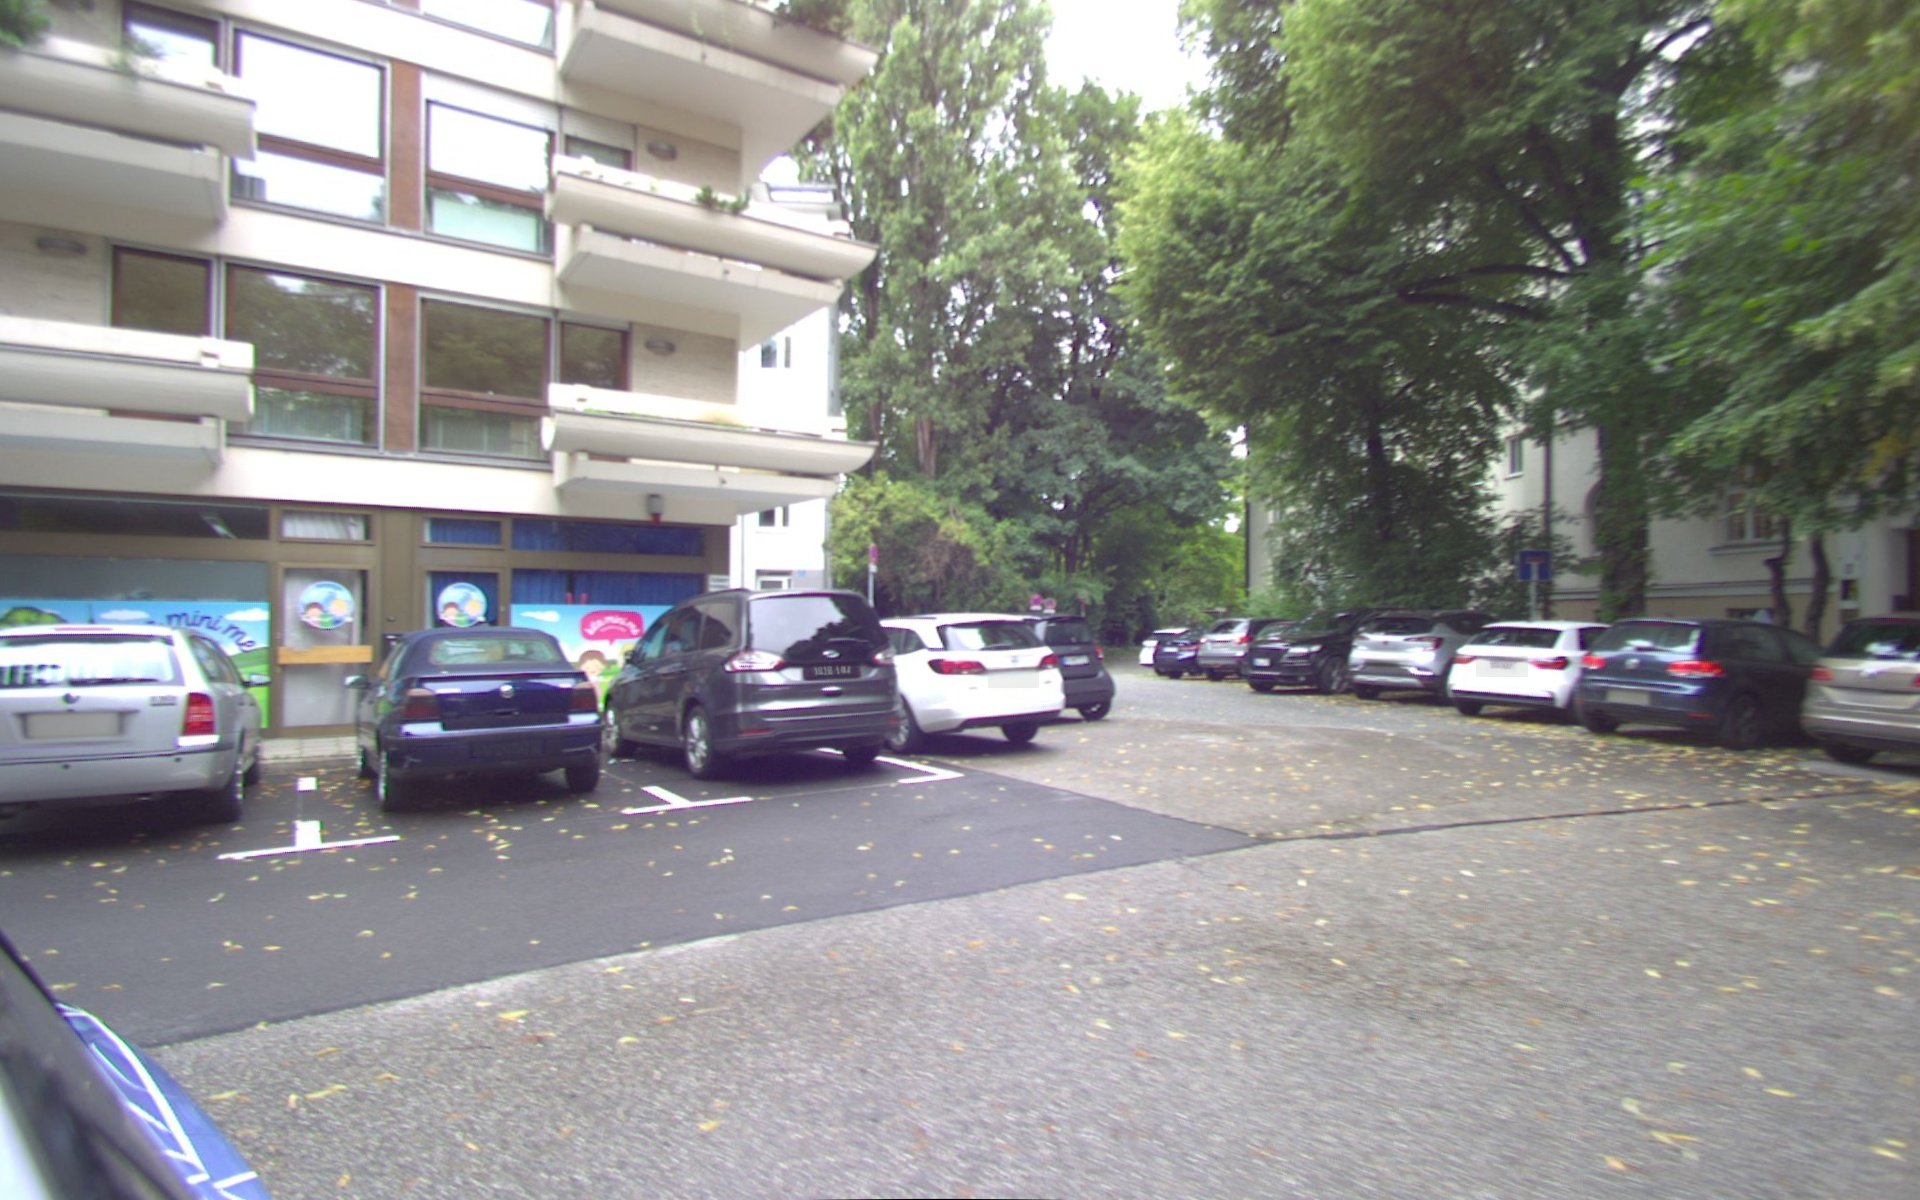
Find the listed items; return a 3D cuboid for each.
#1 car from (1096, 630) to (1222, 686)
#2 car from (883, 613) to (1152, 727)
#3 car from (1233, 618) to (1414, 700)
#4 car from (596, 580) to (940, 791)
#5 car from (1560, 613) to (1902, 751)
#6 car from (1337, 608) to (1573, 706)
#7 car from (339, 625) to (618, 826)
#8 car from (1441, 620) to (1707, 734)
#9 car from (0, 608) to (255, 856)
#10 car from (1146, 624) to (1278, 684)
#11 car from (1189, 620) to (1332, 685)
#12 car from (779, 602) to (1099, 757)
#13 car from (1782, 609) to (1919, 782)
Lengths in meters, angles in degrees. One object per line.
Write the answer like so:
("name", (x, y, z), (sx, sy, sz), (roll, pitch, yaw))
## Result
("car", (5.954, 1.662, 30.083), (3.939, 1.489, 1.726), (1, -1, -43))
("car", (0.741, 1.057, 15.386), (1.807, 1.491, 4.006), (2, -5, -40))
("car", (7.224, 1.078, 19.926), (2.062, 1.412, 3.945), (0, -1, 42))
("car", (-2.183, 0.801, 10.423), (1.871, 1.697, 4.243), (1, -3, -35))
("car", (9.460, 0.895, 12.393), (3.931, 1.442, 1.803), (1, -1, -27))
("car", (8.658, 0.912, 17.643), (3.932, 1.521, 1.880), (1, -1, -32))
("car", (-4.544, 0.982, 9.197), (1.689, 1.378, 4.082), (1, -3, -34))
("car", (9.028, 1.026, 14.824), (3.932, 1.442, 1.729), (1, -1, -32))
("car", (-6.605, 0.908, 7.943), (1.692, 1.466, 4.252), (1, -4, -34))
("car", (7.051, 1.449, 28.102), (3.939, 1.489, 1.726), (1, -1, -43))
("car", (7.672, 1.266, 25.663), (3.939, 1.489, 1.726), (1, -1, -43))
("car", (-0.425, 0.898, 11.882), (1.805, 1.491, 4.009), (1, -4, -35))
("car", (10.433, 0.873, 9.699), (3.959, 1.542, 1.849), (1, -1, -11))
